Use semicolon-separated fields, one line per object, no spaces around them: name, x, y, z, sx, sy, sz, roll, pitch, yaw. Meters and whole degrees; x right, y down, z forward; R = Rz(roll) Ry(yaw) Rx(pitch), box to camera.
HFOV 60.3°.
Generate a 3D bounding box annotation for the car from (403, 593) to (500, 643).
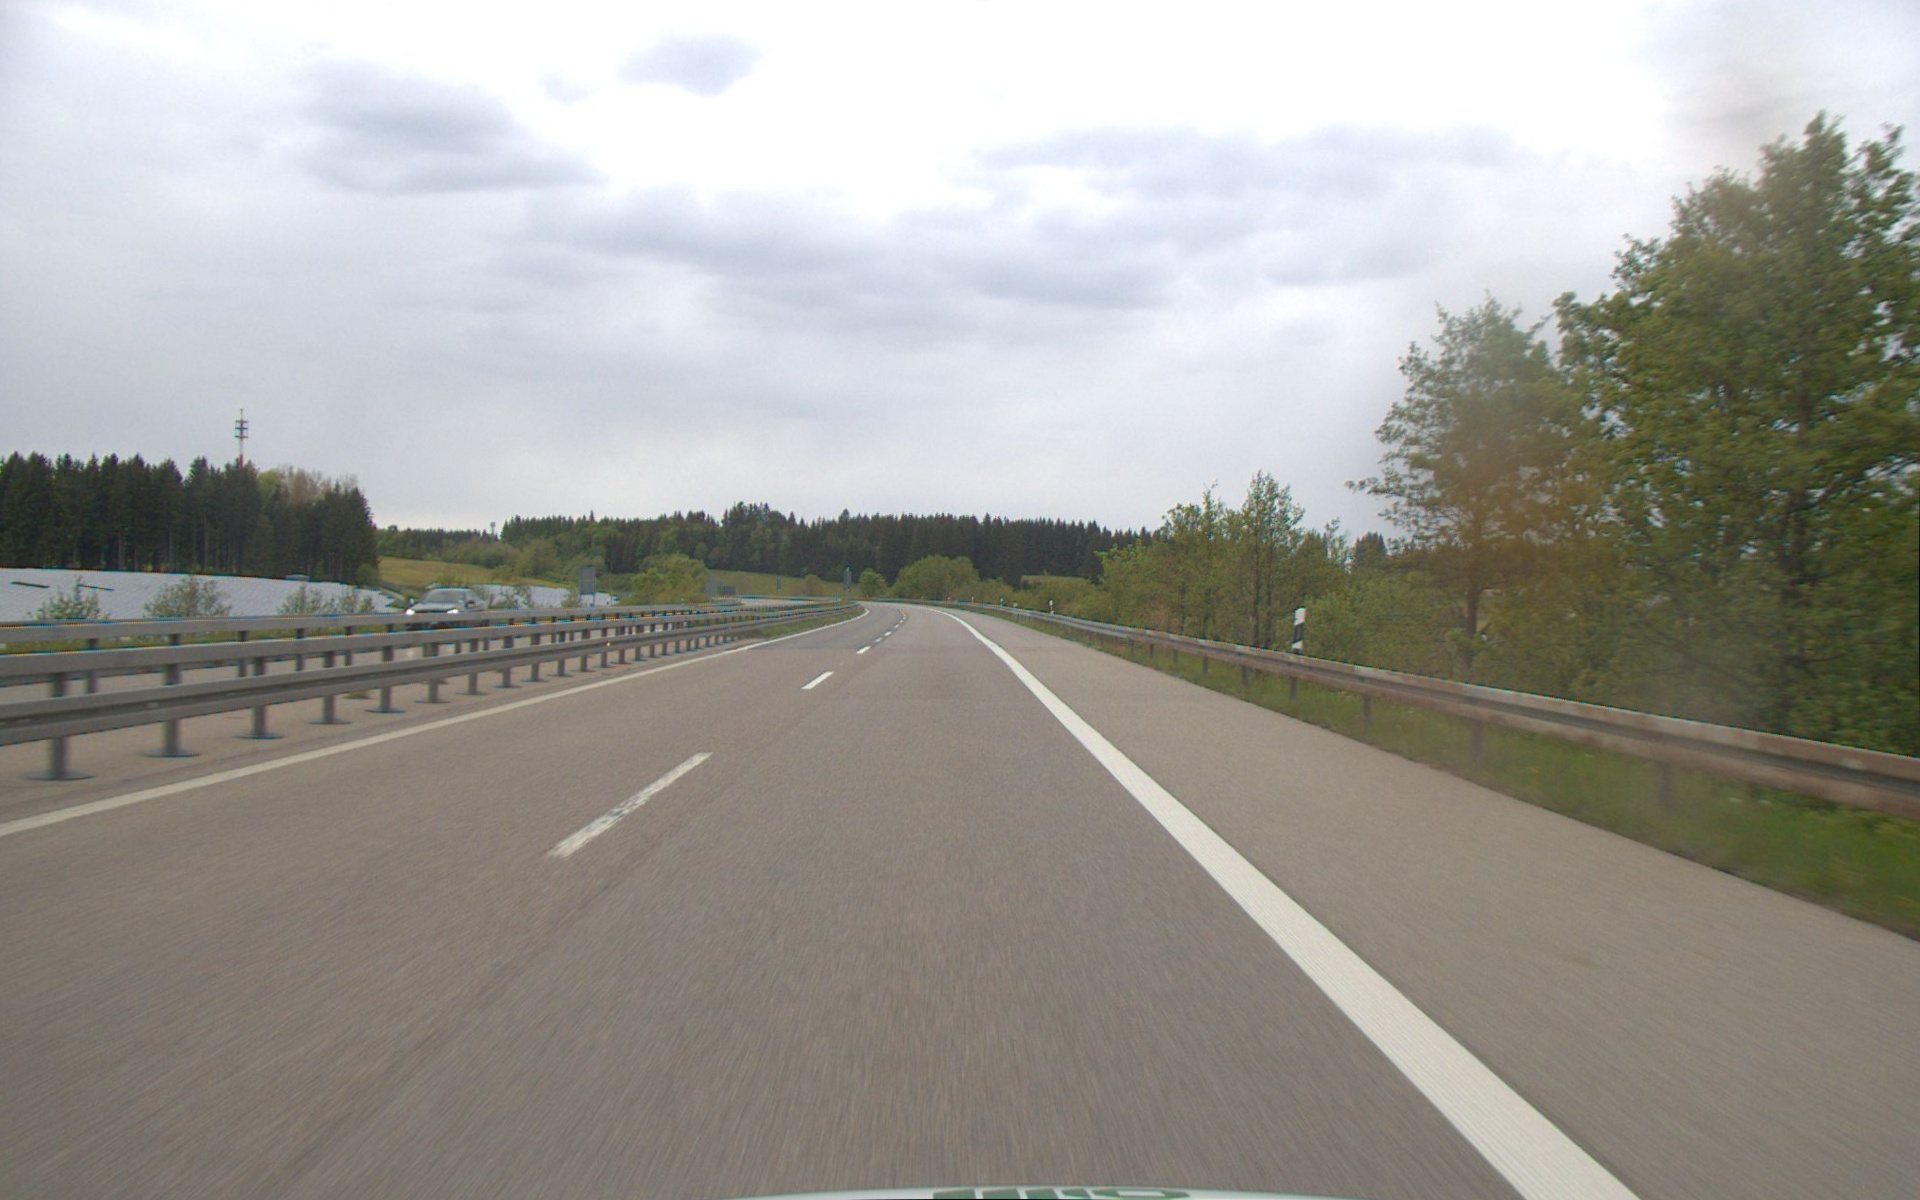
car;-17.433;0.613;56.964;1.953;1.645;4.845;1;0;-2
